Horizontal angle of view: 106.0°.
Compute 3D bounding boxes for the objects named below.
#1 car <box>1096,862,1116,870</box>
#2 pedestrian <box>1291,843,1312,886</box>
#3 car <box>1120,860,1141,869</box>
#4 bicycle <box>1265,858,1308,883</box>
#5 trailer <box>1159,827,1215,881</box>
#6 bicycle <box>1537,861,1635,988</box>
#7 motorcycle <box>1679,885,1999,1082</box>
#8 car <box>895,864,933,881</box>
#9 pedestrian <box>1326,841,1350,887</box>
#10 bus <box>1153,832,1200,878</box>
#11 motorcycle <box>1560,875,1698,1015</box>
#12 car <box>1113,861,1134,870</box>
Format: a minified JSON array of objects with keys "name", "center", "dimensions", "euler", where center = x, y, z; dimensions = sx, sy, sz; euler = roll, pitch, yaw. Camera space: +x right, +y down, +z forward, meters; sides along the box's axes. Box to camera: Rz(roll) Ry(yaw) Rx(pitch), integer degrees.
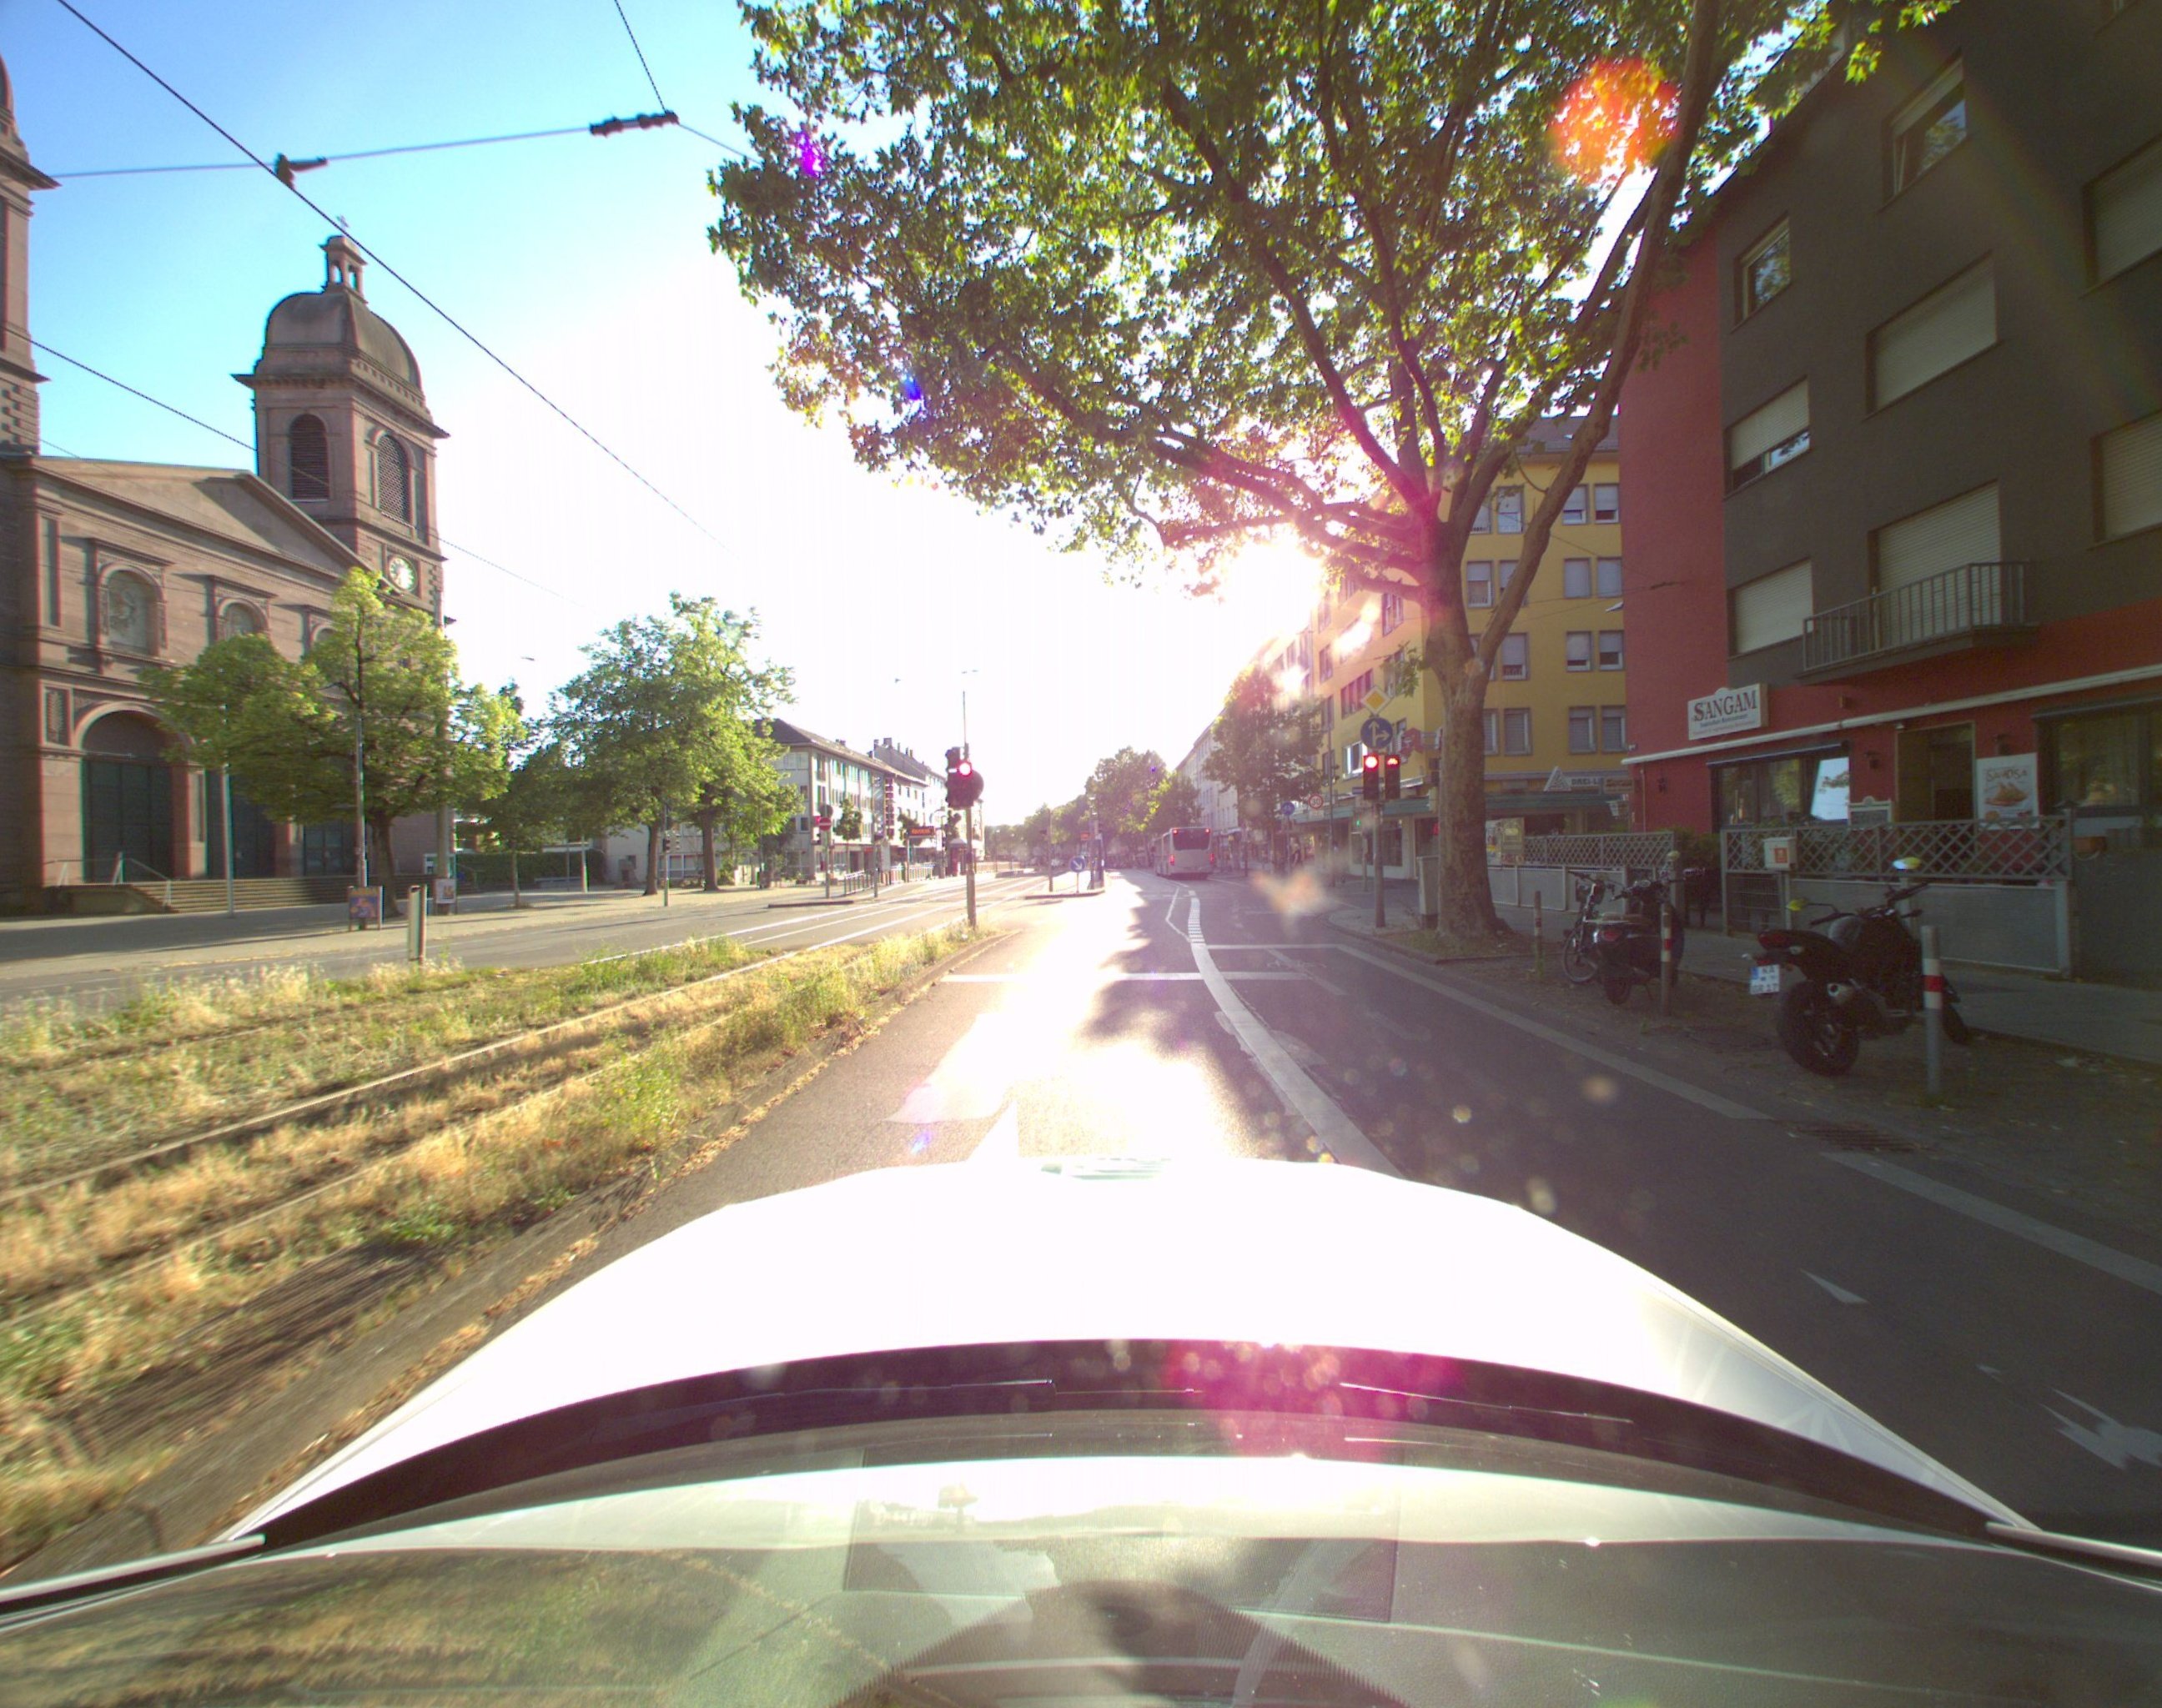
[{"name":"car","center":[5.340,2.528,172.471],"dimensions":[3.911,1.596,1.676],"euler":[-2,0,-27]},{"name":"pedestrian","center":[9.118,0.429,33.676],"dimensions":[0.677,1.770,0.687],"euler":[-2,0,2]},{"name":"car","center":[10.043,2.166,164.737],"dimensions":[3.911,1.699,1.817],"euler":[-2,0,-27]},{"name":"bicycle","center":[9.395,0.756,37.266],"dimensions":[1.766,1.021,0.694],"euler":[-3,-1,1]},{"name":"trailer","center":[6.587,0.041,51.756],"dimensions":[2.801,3.110,8.799],"euler":[0,0,2]},{"name":"bicycle","center":[5.872,0.749,9.423],"dimensions":[0.687,1.203,1.859],"euler":[0,3,40]},{"name":"motorcycle","center":[5.476,0.841,5.876],"dimensions":[2.214,1.063,0.762],"euler":[-4,0,-21]},{"name":"car","center":[-19.855,2.182,96.792],"dimensions":[4.006,1.816,1.984],"euler":[-2,0,-25]},{"name":"pedestrian","center":[10.054,0.372,31.886],"dimensions":[0.677,1.770,0.687],"euler":[-2,0,2]},{"name":"bus","center":[6.958,0.095,60.687],"dimensions":[2.801,3.101,9.099],"euler":[0,0,2]},{"name":"motorcycle","center":[5.455,0.825,8.054],"dimensions":[2.009,1.152,0.594],"euler":[-2,0,-40]},{"name":"car","center":[8.868,2.282,168.139],"dimensions":[3.911,1.699,1.817],"euler":[-2,0,-27]}]
